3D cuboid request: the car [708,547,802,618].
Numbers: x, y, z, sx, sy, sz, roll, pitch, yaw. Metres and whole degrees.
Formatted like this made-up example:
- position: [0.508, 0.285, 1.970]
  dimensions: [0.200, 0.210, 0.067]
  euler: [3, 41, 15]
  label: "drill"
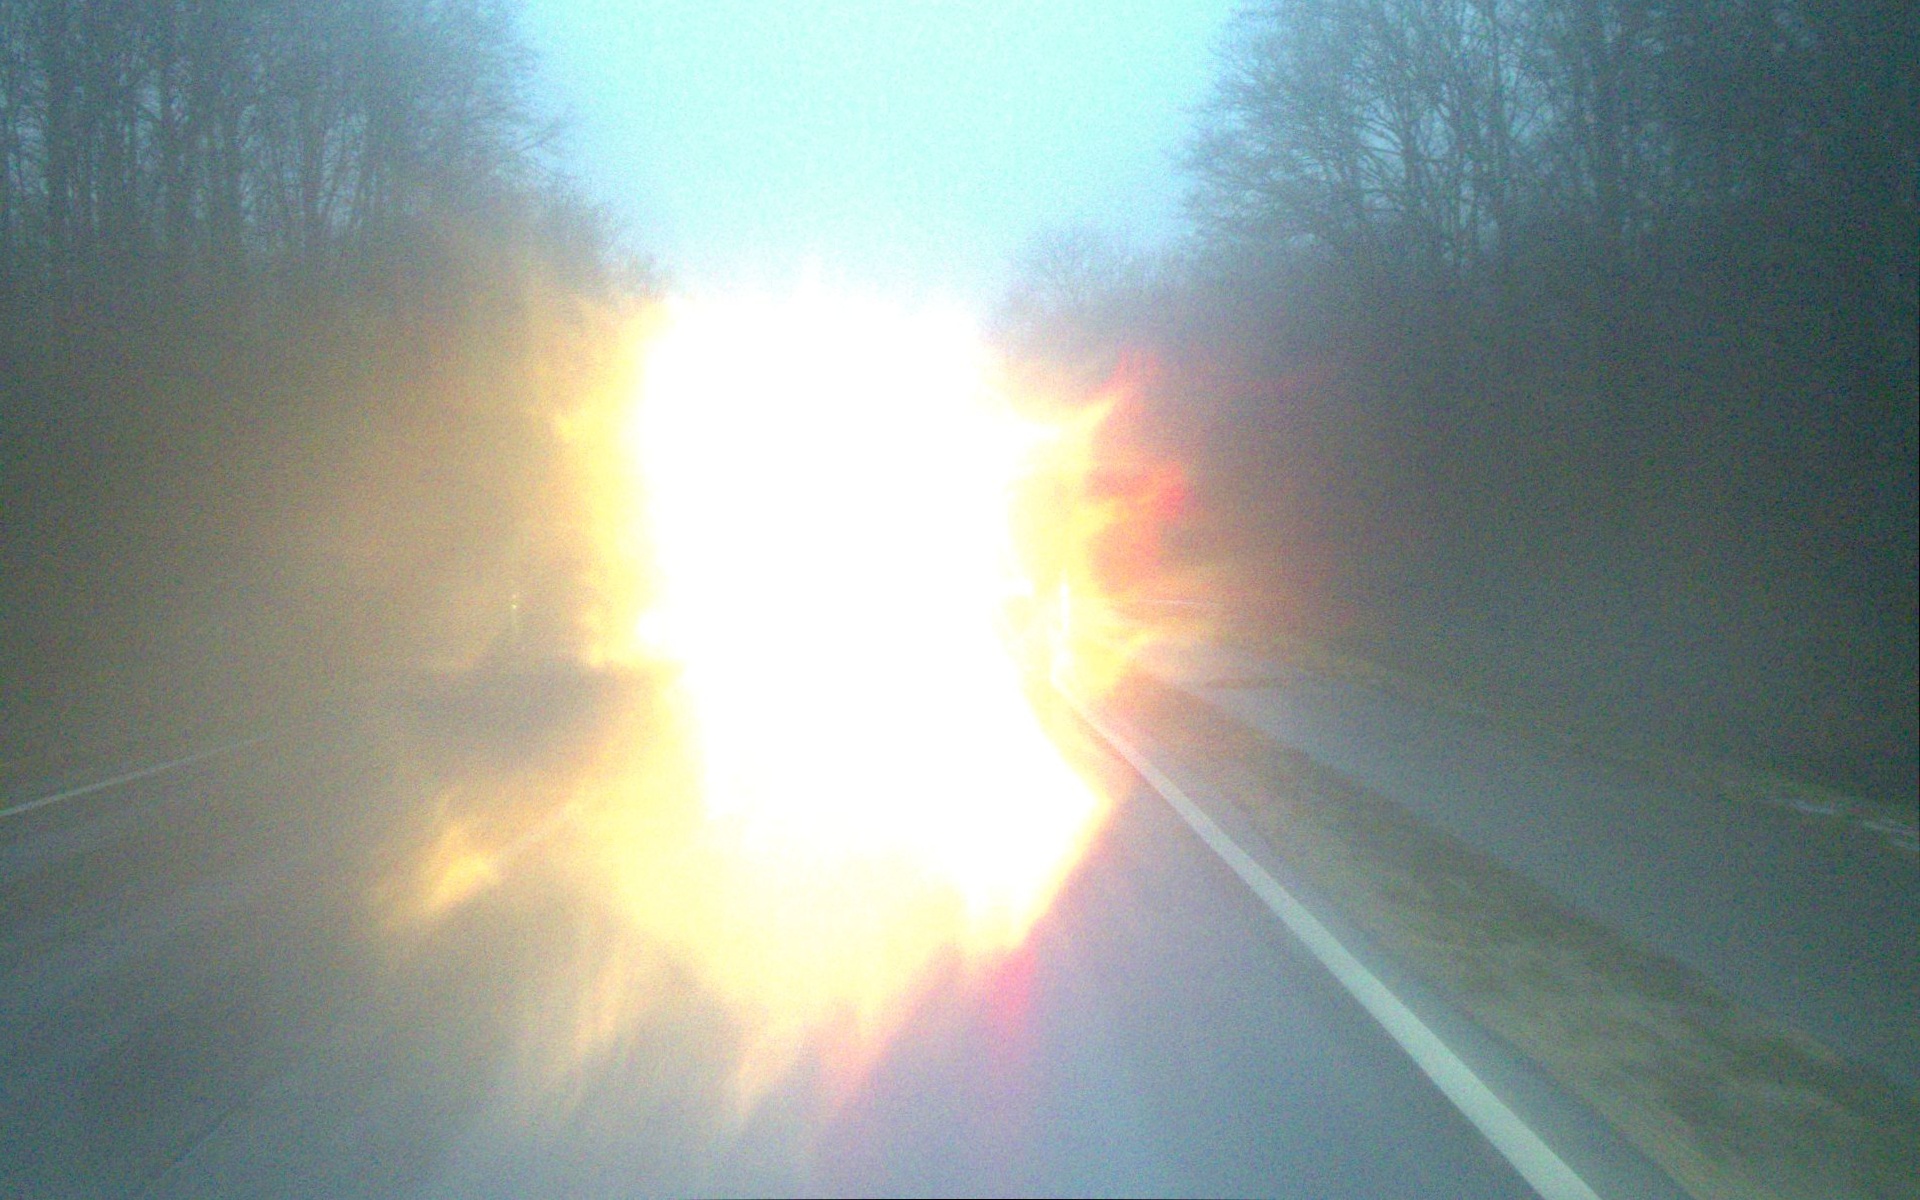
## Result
- position: [-4.503, -0.398, 75.868]
  dimensions: [1.799, 1.456, 4.177]
  euler: [-2, 1, 0]
  label: "car"
